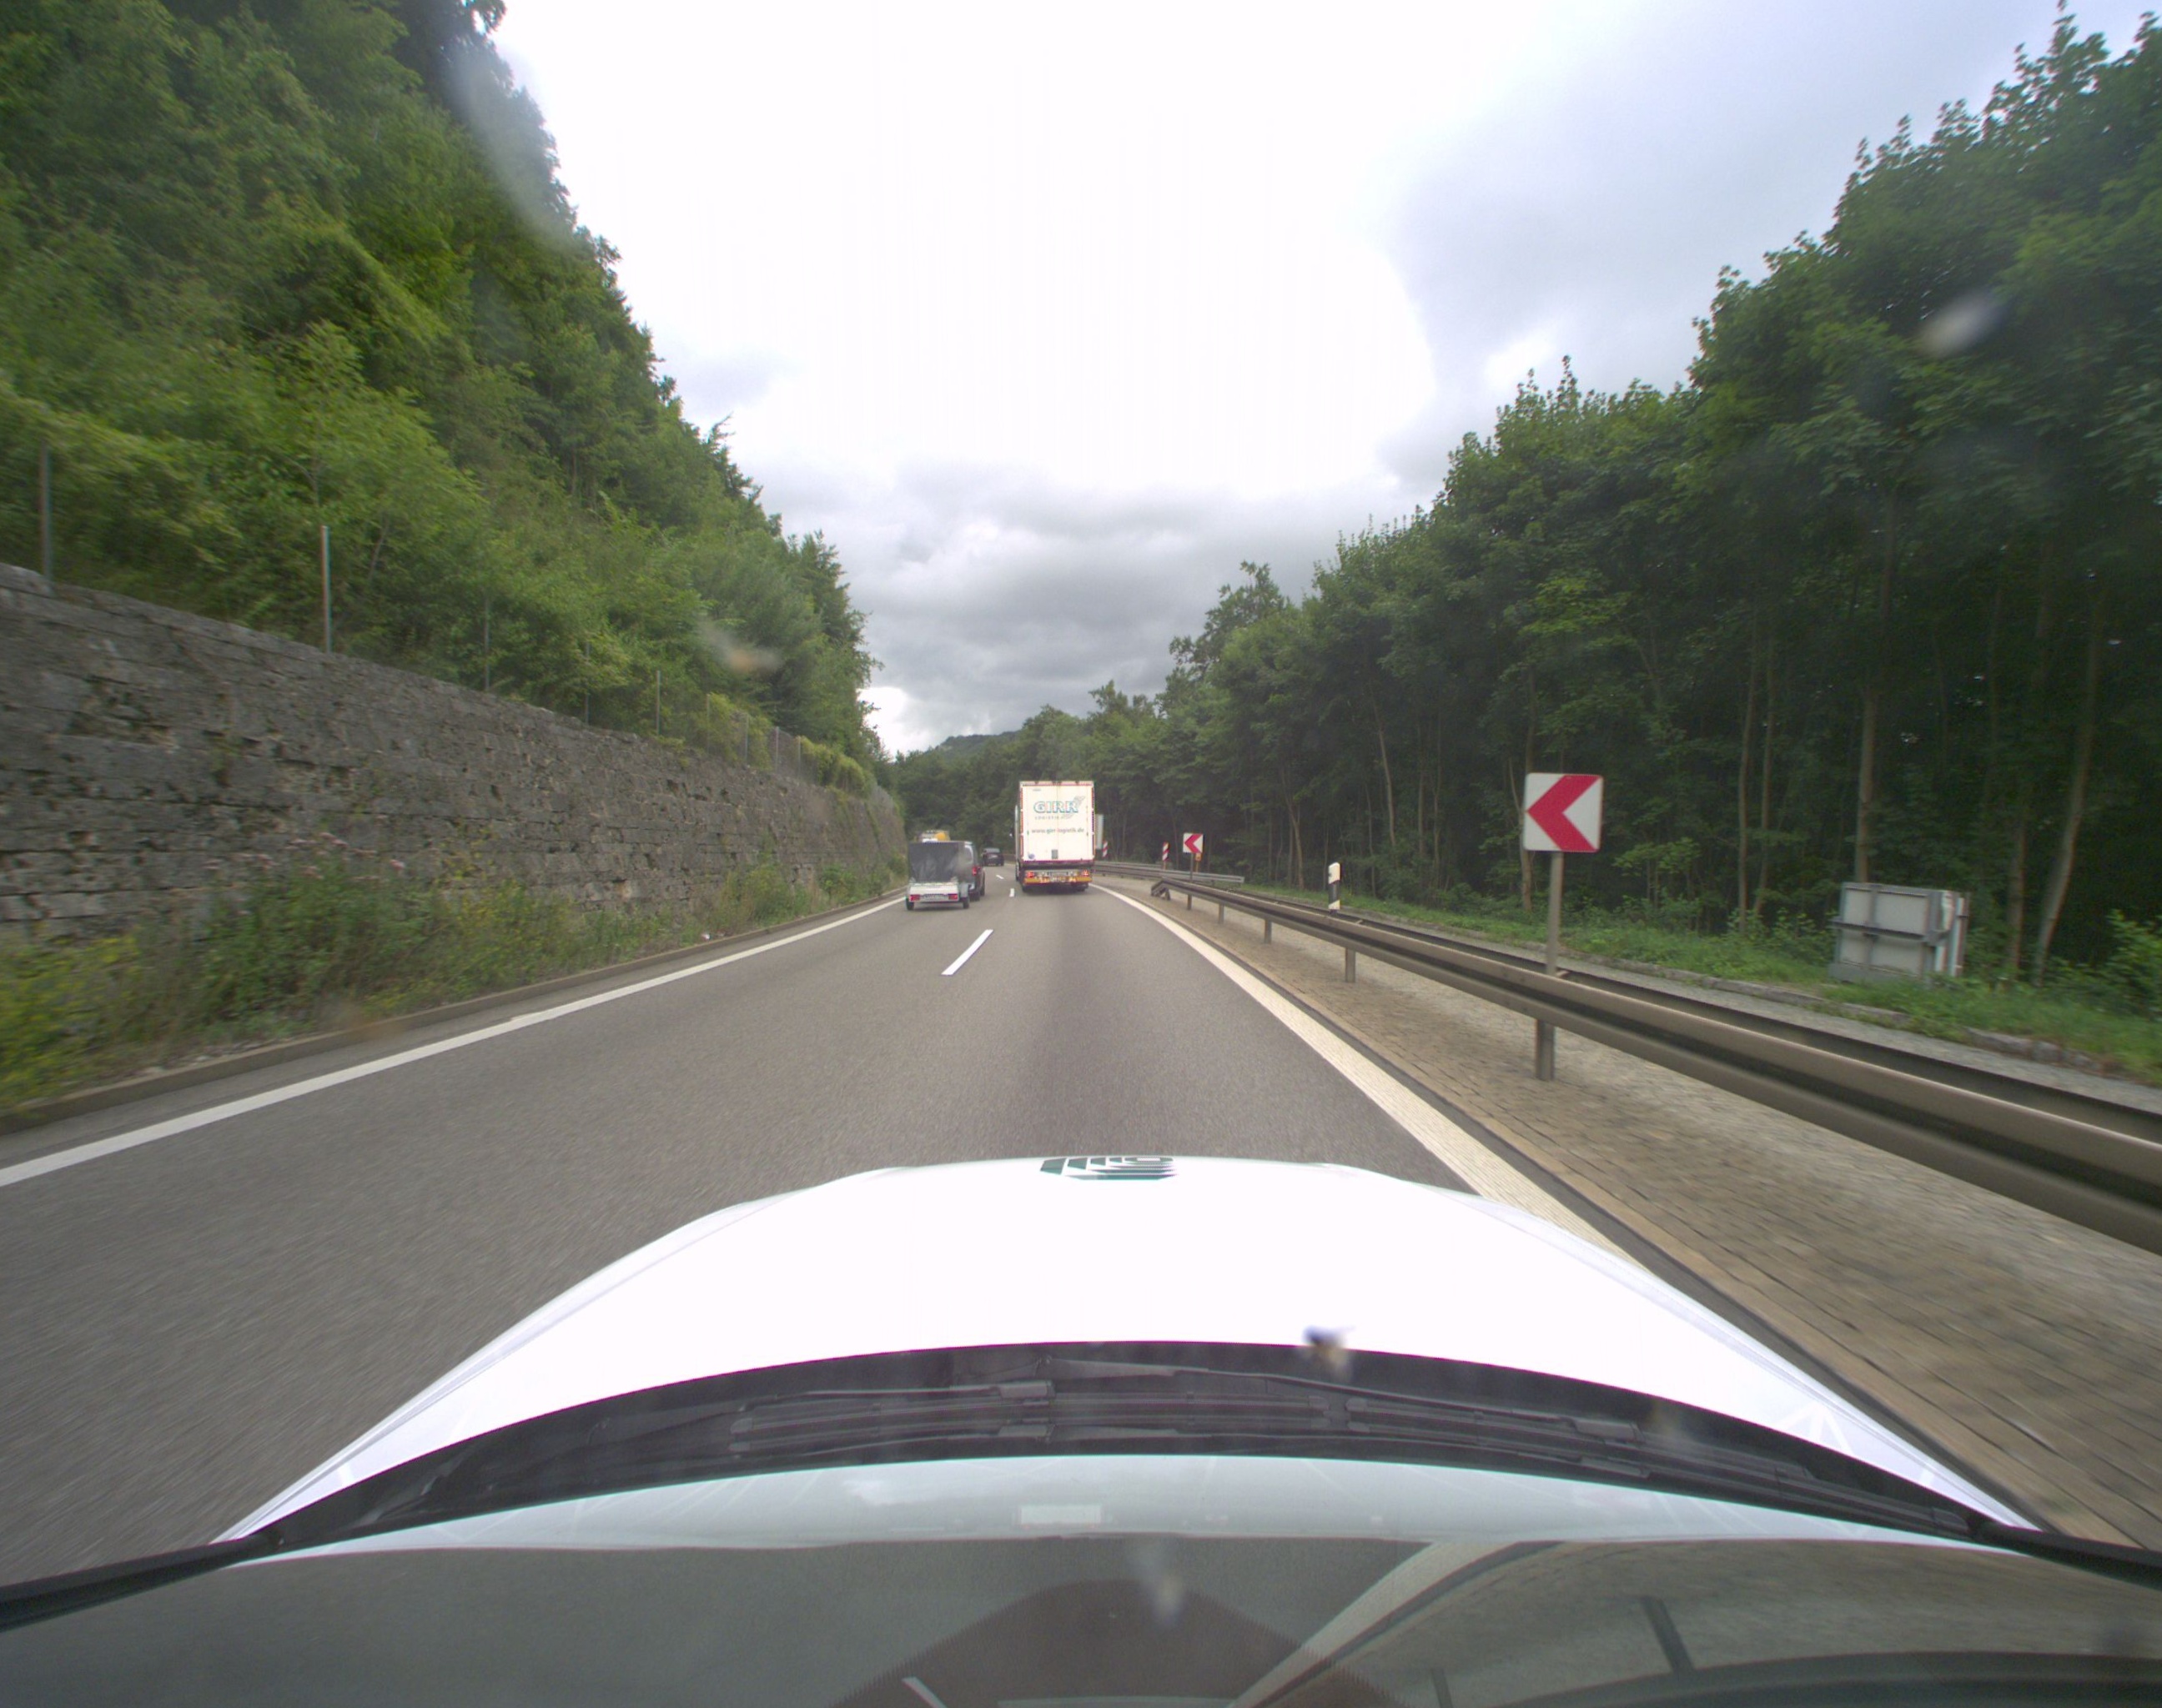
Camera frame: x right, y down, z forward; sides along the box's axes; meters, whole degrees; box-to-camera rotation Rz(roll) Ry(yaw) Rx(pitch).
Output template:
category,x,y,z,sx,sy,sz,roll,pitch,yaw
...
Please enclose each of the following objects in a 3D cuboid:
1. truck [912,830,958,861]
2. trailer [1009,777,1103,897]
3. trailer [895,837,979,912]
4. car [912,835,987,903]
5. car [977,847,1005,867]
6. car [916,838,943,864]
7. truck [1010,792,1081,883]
category,x,y,z,sx,sy,sz,roll,pitch,yaw
truck,-19.918,-1.125,110.200,3.071,3.986,13.593,-2,1,-23
trailer,-1.331,-0.759,33.624,3.052,3.985,12.118,2,2,-5
trailer,-3.990,0.522,23.113,1.967,1.939,3.425,-1,0,-4
car,-4.310,0.448,27.536,1.990,2.013,5.532,-1,0,-4
car,-8.097,0.266,72.869,1.996,1.662,3.981,1,0,-14
car,-16.151,-0.326,86.780,1.994,2.672,6.896,1,0,-17
truck,-1.875,-0.846,40.012,3.052,3.985,7.176,2,2,-5
